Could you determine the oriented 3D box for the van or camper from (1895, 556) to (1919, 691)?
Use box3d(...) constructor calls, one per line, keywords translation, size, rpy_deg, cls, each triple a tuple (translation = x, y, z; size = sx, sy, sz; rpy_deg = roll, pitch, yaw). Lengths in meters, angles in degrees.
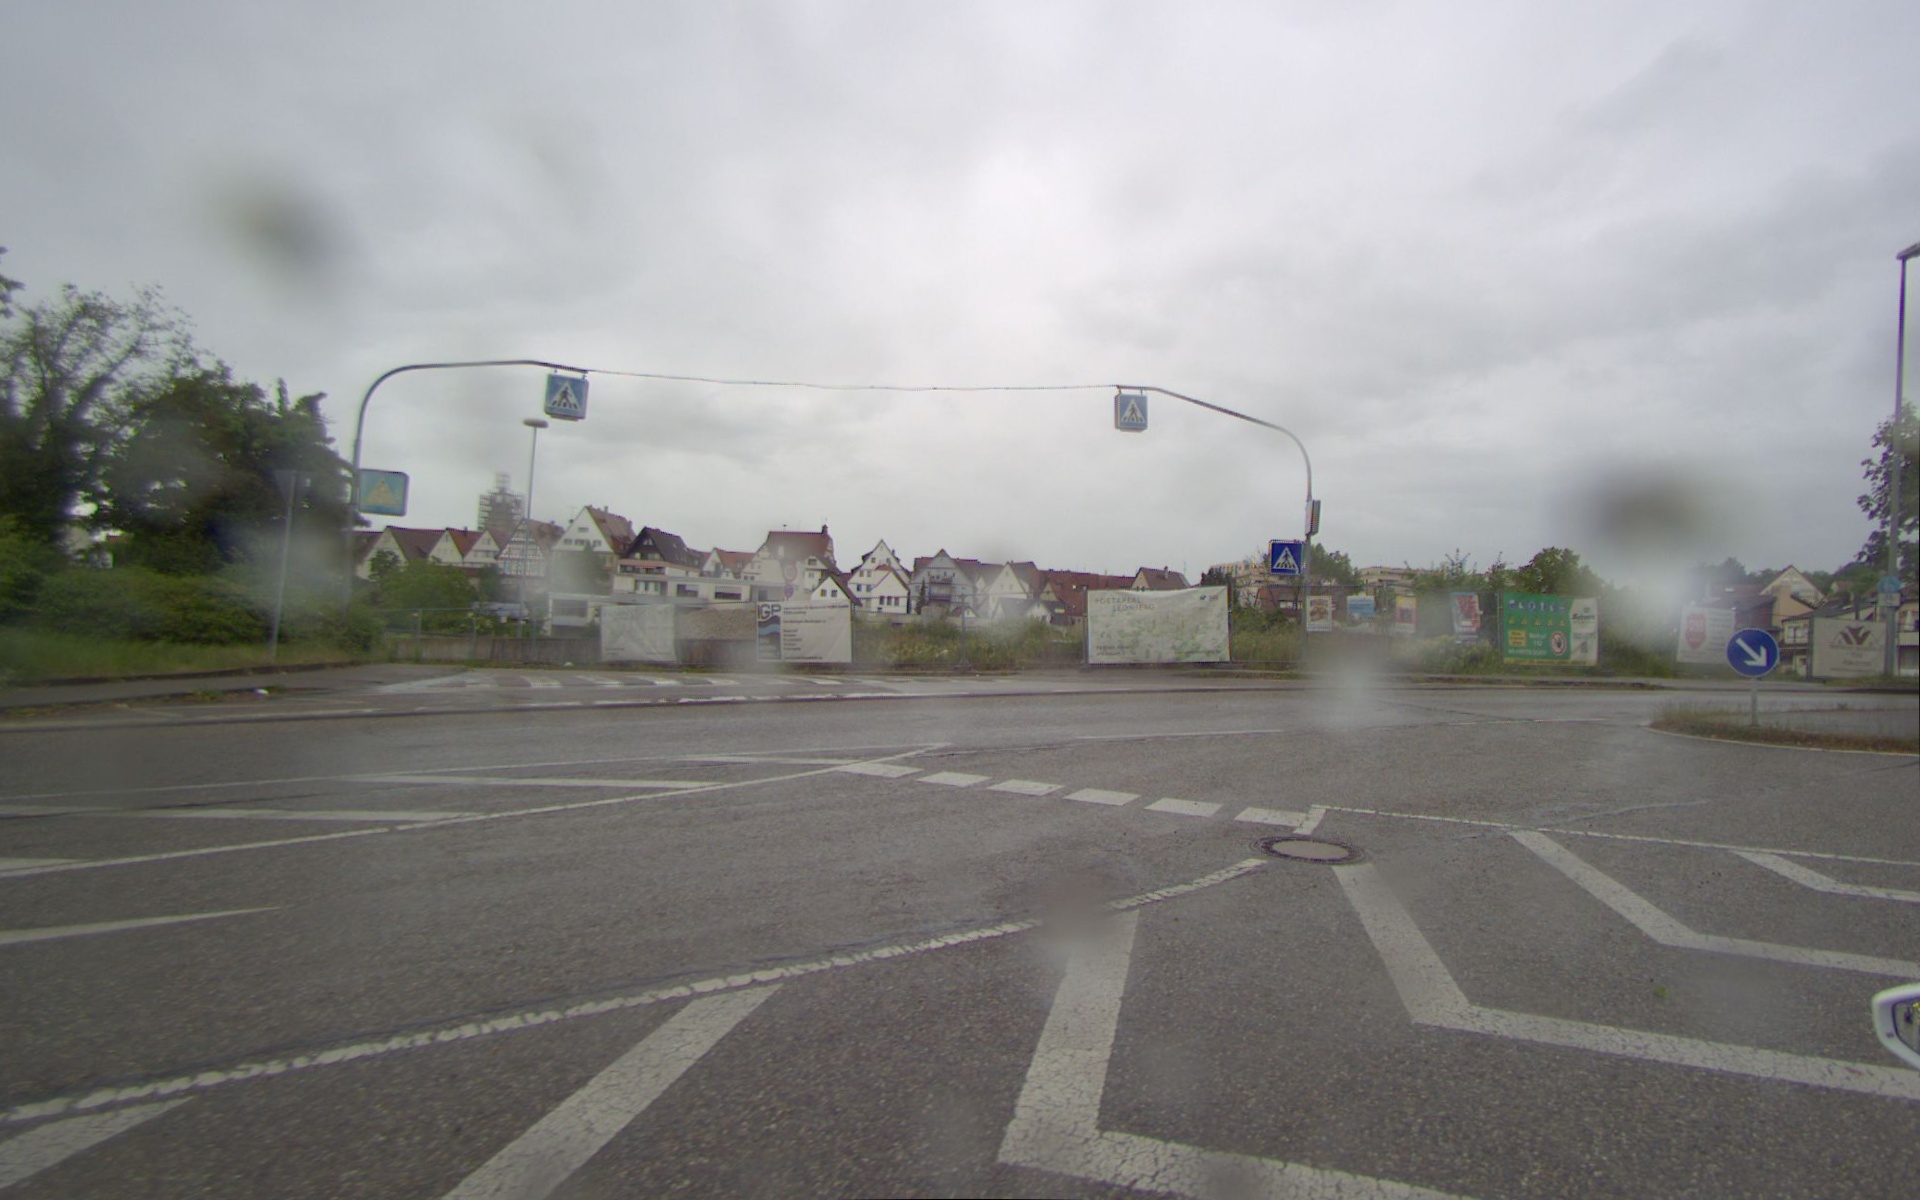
box3d(translation=(22.750, 0.567, 20.156), size=(6.899, 2.691, 2.369), rpy_deg=(2, -1, -13), cls="van or camper")
